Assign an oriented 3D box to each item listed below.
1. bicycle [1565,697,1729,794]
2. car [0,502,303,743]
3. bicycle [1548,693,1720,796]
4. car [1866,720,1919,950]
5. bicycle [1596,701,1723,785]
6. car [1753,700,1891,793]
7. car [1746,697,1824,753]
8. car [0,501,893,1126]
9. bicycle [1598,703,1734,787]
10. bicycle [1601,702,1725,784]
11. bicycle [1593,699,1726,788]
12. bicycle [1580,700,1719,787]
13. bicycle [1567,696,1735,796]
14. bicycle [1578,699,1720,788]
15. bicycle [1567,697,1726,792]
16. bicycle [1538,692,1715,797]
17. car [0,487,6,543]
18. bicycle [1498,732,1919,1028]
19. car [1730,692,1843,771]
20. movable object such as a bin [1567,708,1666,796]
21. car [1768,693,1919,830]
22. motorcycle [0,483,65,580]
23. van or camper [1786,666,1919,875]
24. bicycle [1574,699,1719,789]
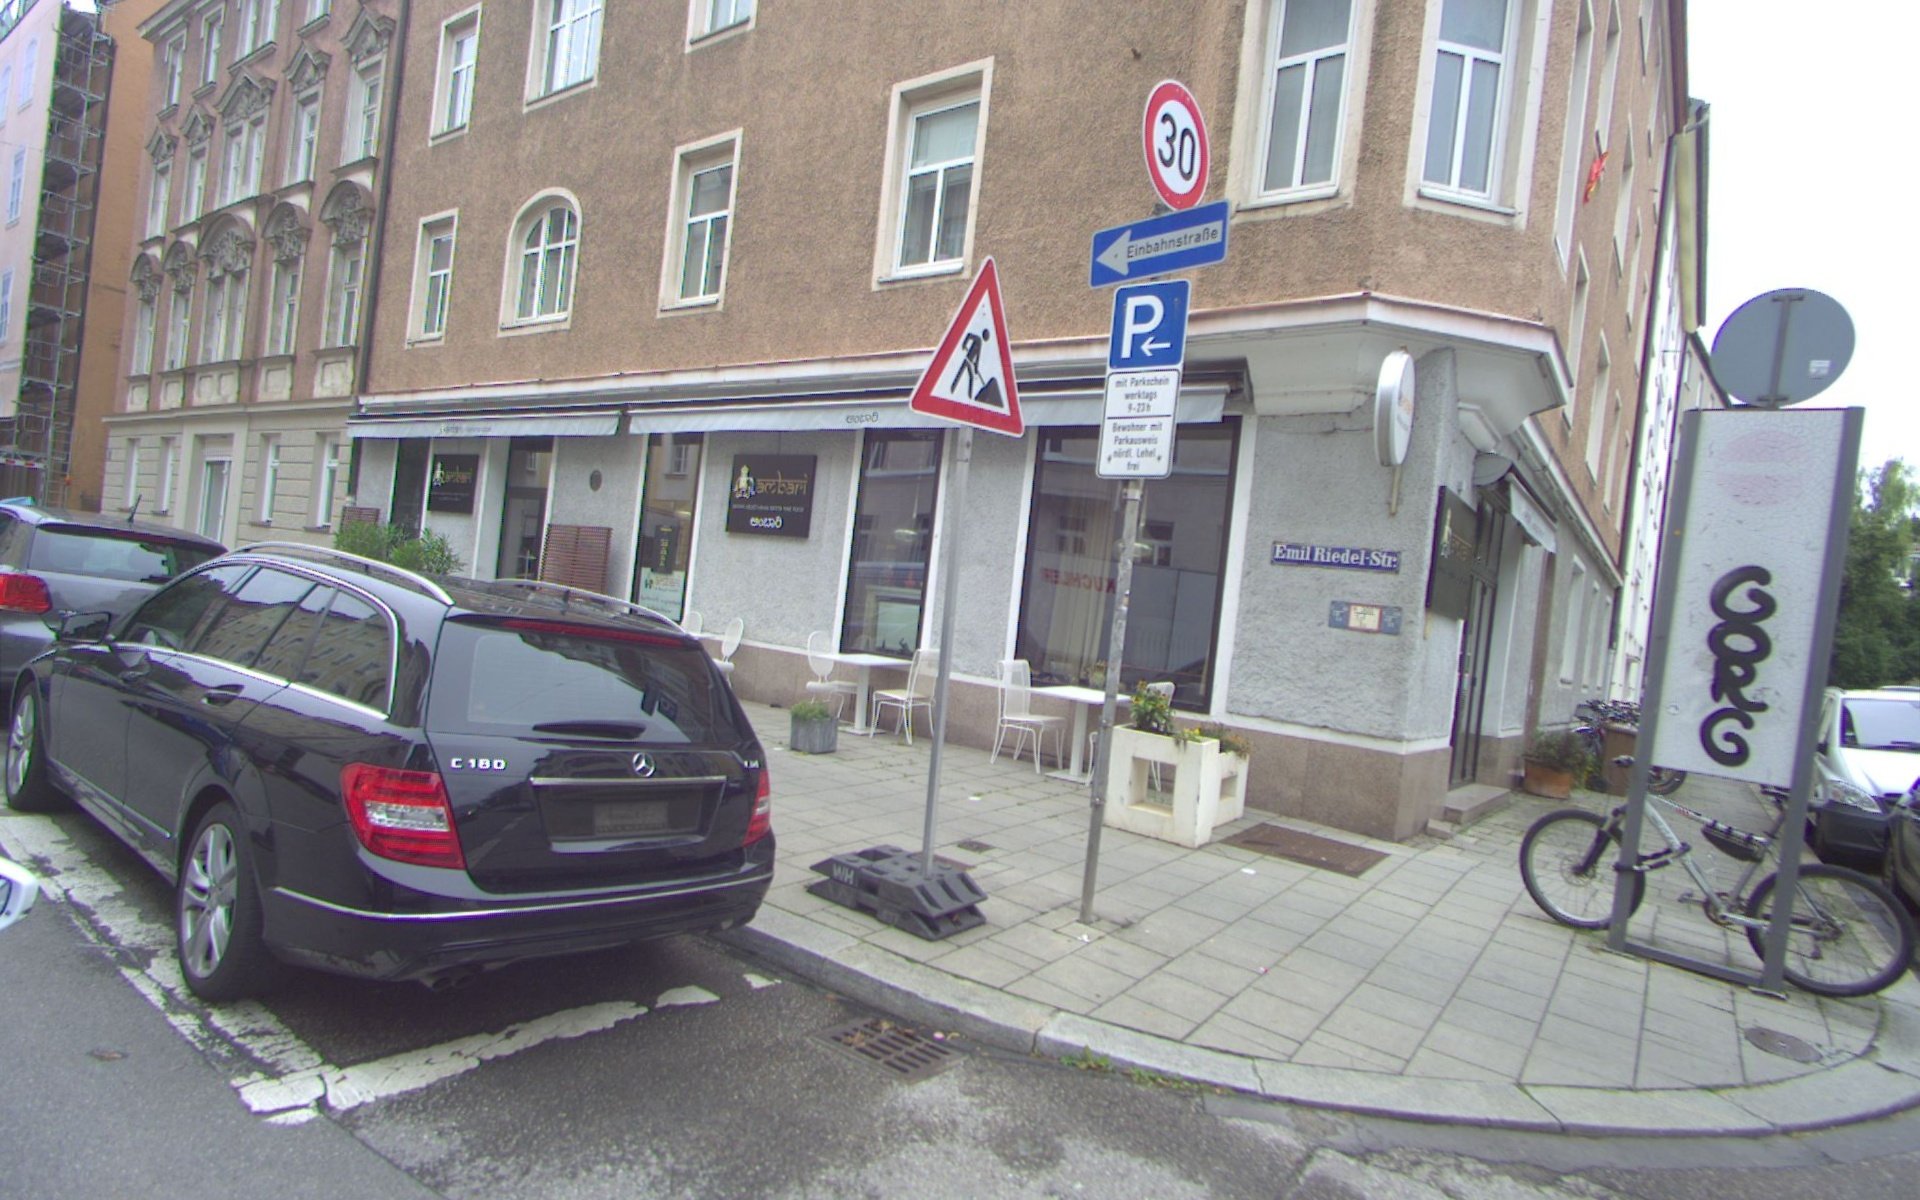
[{"bbox_3d":[10.337,2.170,15.198,1.893,1.158,0.417,6,1,20],"label":"bicycle"},{"bbox_3d":[-6.855,0.019,7.700,4.117,1.412,1.572,6,0,35],"label":"car"},{"bbox_3d":[9.632,2.052,14.450,1.893,1.158,0.475,6,1,20],"label":"bicycle"},{"bbox_3d":[7.710,1.739,6.787,1.863,1.506,3.872,6,-1,37],"label":"car"},{"bbox_3d":[12.902,2.623,18.606,1.766,1.275,0.417,6,1,20],"label":"bicycle"},{"bbox_3d":[18.544,3.109,21.817,1.949,1.521,4.653,6,-1,39],"label":"car"},{"bbox_3d":[29.701,4.433,36.326,1.949,1.588,4.650,6,0,39],"label":"car"},{"bbox_3d":[-2.763,0.463,4.627,4.714,1.422,1.847,6,-1,36],"label":"car"},{"bbox_3d":[12.083,2.470,17.269,1.766,1.158,0.417,6,1,20],"label":"bicycle"},{"bbox_3d":[13.365,2.703,19.164,1.766,1.275,0.417,6,1,20],"label":"bicycle"},{"bbox_3d":[12.307,2.516,17.743,1.766,1.275,0.417,6,1,20],"label":"bicycle"},{"bbox_3d":[11.518,2.382,16.849,1.766,1.158,0.417,6,1,20],"label":"bicycle"},{"bbox_3d":[10.126,2.128,14.809,1.893,1.158,0.417,6,1,20],"label":"bicycle"},{"bbox_3d":[11.225,2.329,16.447,1.766,1.158,0.417,6,1,20],"label":"bicycle"},{"bbox_3d":[10.642,2.225,15.648,1.893,1.158,0.417,6,1,20],"label":"bicycle"},{"bbox_3d":[9.253,1.989,14.044,1.893,1.158,0.475,6,1,20],"label":"bicycle"},{"bbox_3d":[-14.674,-0.952,13.239,5.548,1.571,1.932,7,-1,35],"label":"car"},{"bbox_3d":[3.974,1.392,5.382,1.776,1.019,0.495,8,3,39],"label":"bicycle"},{"bbox_3d":[21.663,3.377,26.521,1.948,1.588,4.652,6,0,37],"label":"car"},{"bbox_3d":[8.839,2.027,13.585,0.952,0.962,0.733,7,1,29],"label":"movable object such as a bin"},{"bbox_3d":[14.136,2.440,15.862,1.949,1.664,3.981,6,0,38],"label":"car"},{"bbox_3d":[-16.320,-1.212,17.348,1.967,1.523,0.871,6,0,38],"label":"motorcycle"},{"bbox_3d":[10.939,1.880,11.545,1.932,1.942,4.898,4,-2,37],"label":"van or camper"},{"bbox_3d":[10.964,2.284,16.123,1.766,1.158,0.417,6,1,20],"label":"bicycle"}]
